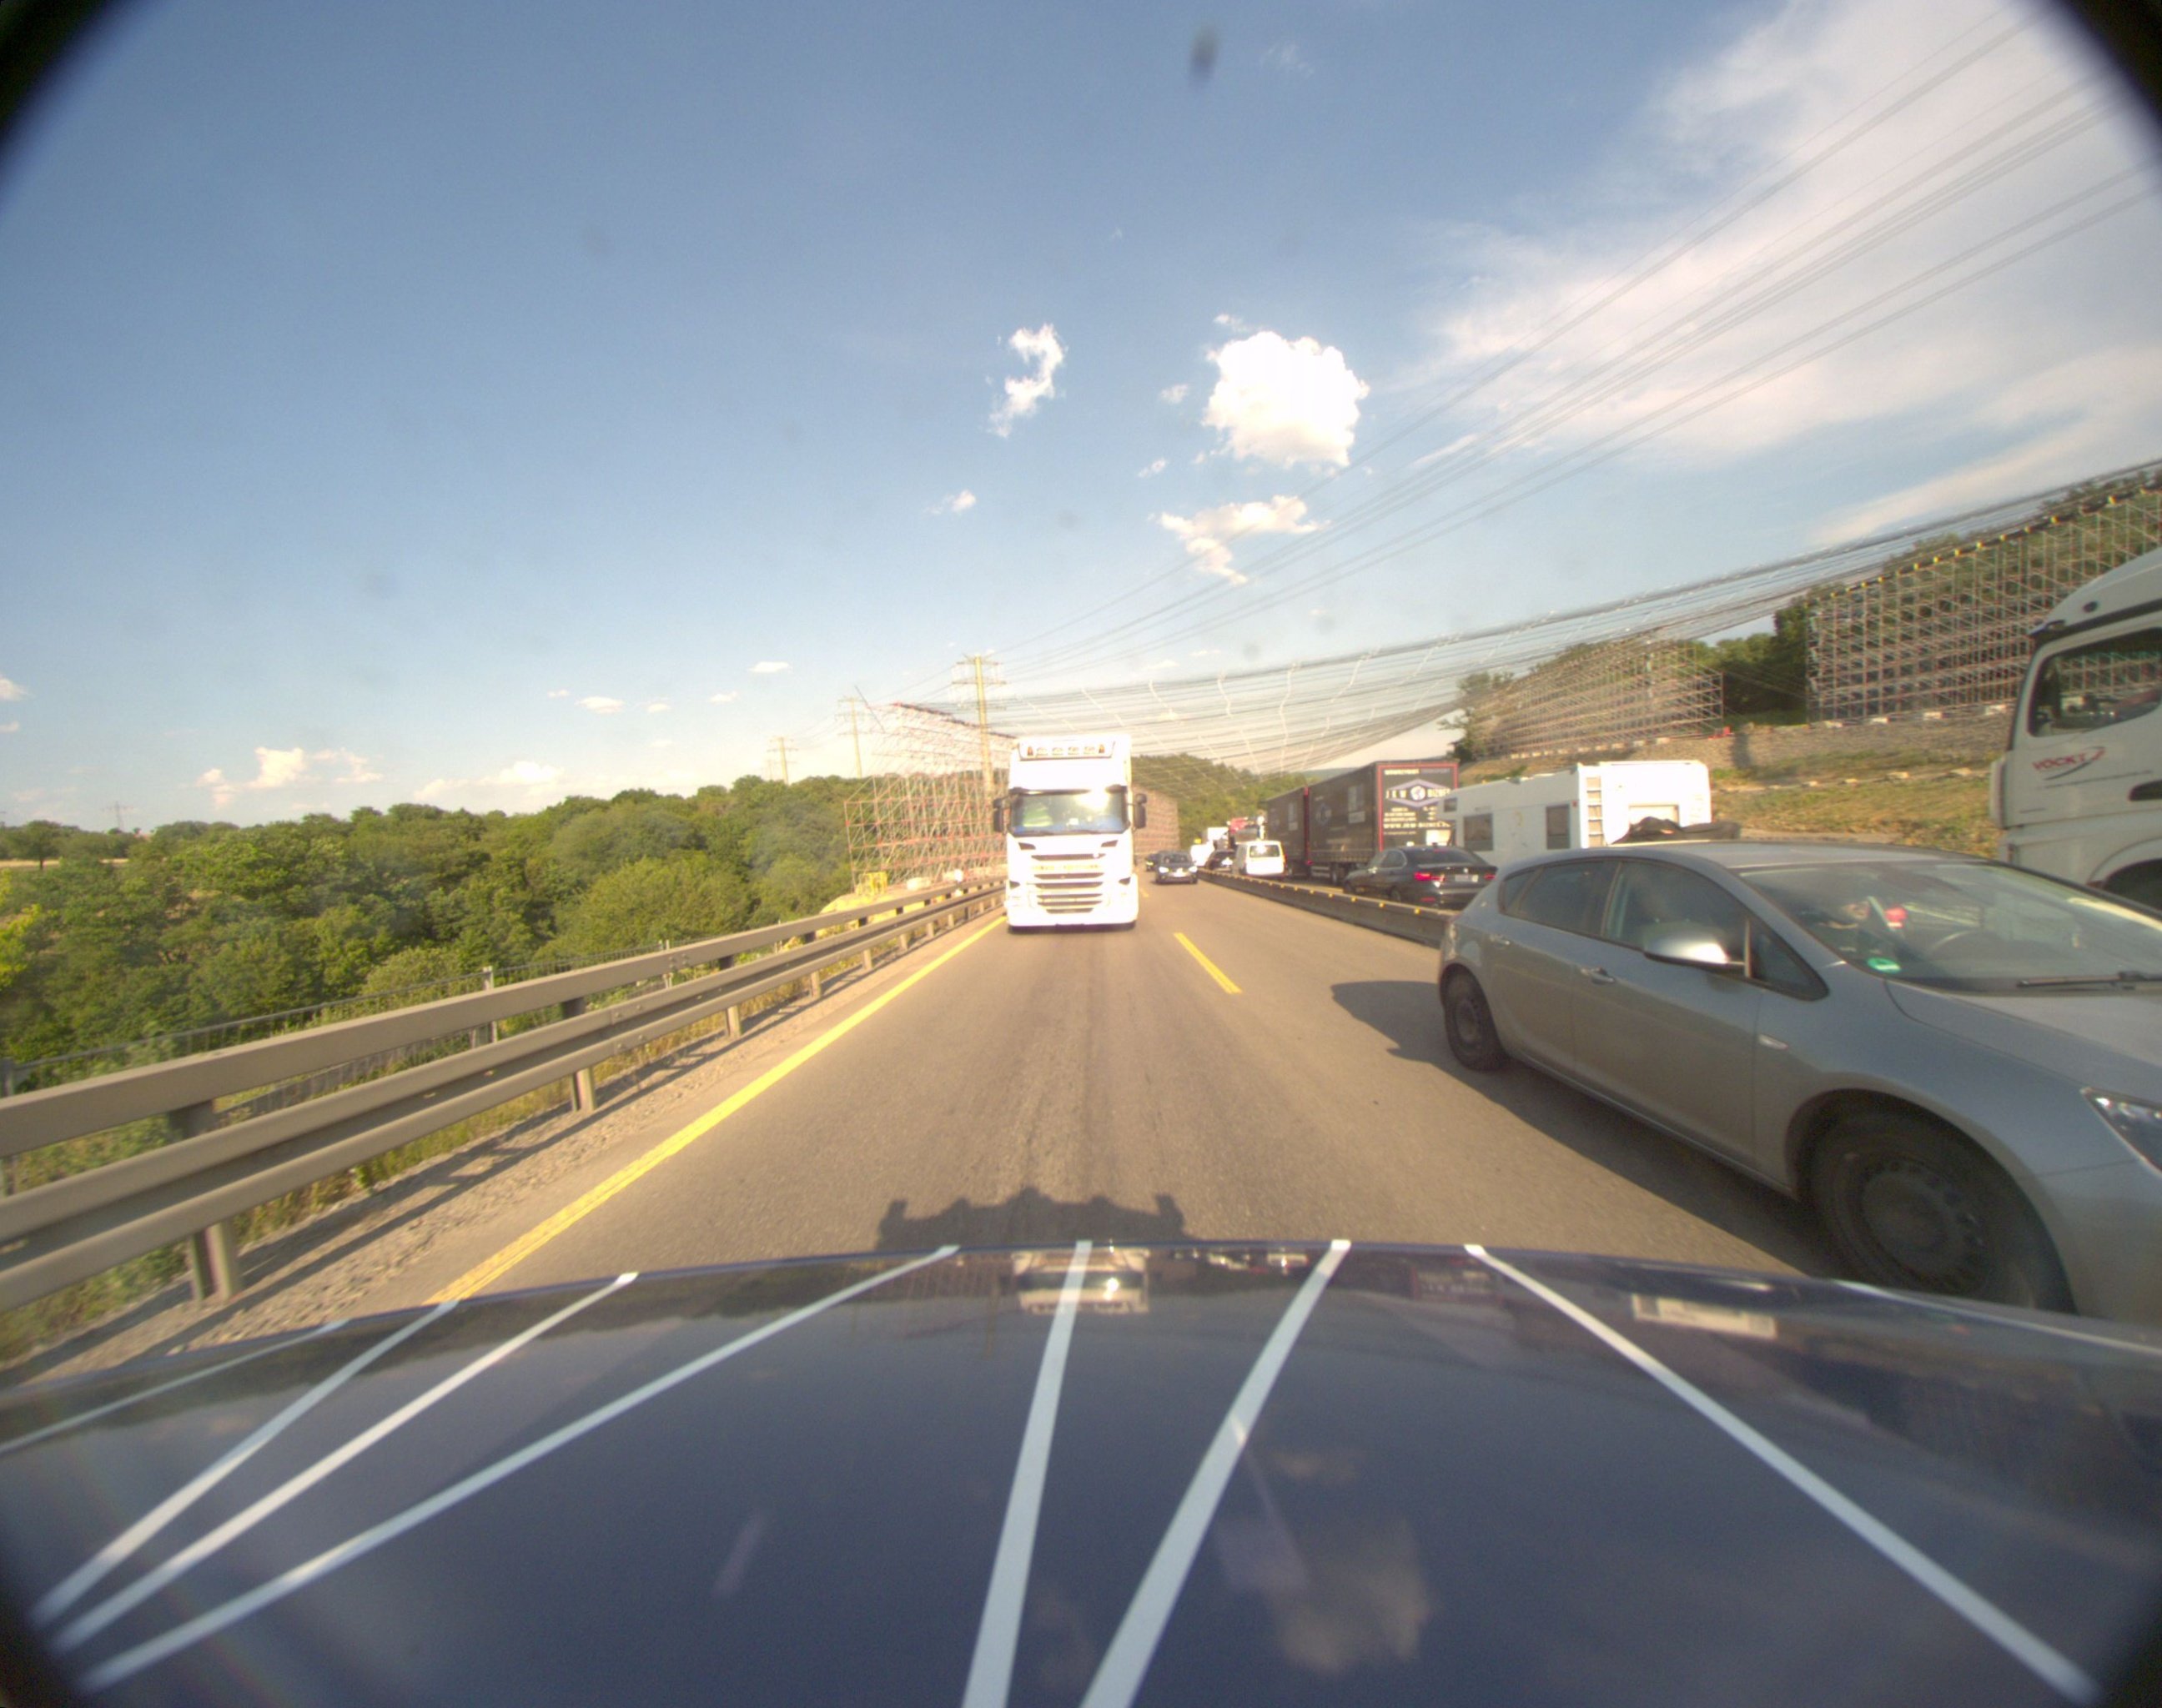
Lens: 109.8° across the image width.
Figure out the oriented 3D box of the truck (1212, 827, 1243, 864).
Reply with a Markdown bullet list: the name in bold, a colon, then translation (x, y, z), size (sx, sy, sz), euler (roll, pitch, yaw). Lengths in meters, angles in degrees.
- **truck**: translation (14.294, -0.838, 74.426), size (2.418, 3.351, 5.619), euler (-2, 1, 6)

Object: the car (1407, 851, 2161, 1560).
- **car**: translation (3.228, 0.767, 3.281), size (1.760, 1.464, 4.352), euler (-2, 1, 0)

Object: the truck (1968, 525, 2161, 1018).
- **truck**: translation (9.460, -0.627, 3.763), size (2.607, 3.732, 6.516), euler (-2, 1, 1)

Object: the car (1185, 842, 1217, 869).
- **car**: translation (9.035, 0.075, 57.612), size (1.821, 1.914, 4.836), euler (-2, 1, 3)

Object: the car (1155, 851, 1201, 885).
- **car**: translation (4.348, 0.592, 34.628), size (1.764, 1.376, 3.823), euler (-2, 1, 3)

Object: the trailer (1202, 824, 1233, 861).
- **trailer**: translation (15.668, -1.328, 87.781), size (2.432, 3.940, 14.103), euler (-2, 1, 6)

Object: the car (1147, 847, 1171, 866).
- **car**: translation (6.031, 0.152, 58.832), size (1.675, 1.376, 3.823), euler (-2, 1, 4)

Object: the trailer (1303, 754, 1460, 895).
- **trailer**: translation (10.273, -0.948, 27.118), size (2.449, 4.165, 8.544), euler (-2, 1, 2)

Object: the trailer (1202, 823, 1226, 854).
- **trailer**: translation (18.626, -2.163, 106.918), size (2.675, 3.992, 13.339), euler (-2, 1, 7)

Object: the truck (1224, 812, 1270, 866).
- **truck**: translation (12.333, -1.119, 56.787), size (2.438, 3.763, 5.618), euler (-2, 1, 4)

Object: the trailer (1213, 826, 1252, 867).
- **trailer**: translation (13.502, -0.729, 68.558), size (2.311, 3.342, 12.056), euler (-2, 1, 6)

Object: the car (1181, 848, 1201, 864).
- **car**: translation (10.627, 0.184, 73.699), size (1.631, 1.418, 4.658), euler (-2, 1, 4)

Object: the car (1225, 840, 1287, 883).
- **car**: translation (7.493, 0.279, 32.921), size (1.761, 1.685, 4.453), euler (-2, 1, 2)

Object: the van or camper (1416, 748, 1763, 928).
- **van or camper**: translation (10.008, -0.309, 16.238), size (2.414, 2.875, 7.617), euler (-2, 1, 1)

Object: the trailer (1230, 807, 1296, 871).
- **trailer**: translation (11.933, -0.971, 50.973), size (2.312, 3.768, 12.054), euler (-2, 1, 4)

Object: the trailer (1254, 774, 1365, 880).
- **trailer**: translation (10.638, -1.193, 36.652), size (2.482, 4.304, 10.511), euler (-2, 1, 2)

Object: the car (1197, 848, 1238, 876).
- **car**: translation (7.780, 0.418, 43.640), size (1.684, 1.470, 4.603), euler (-2, 1, 3)

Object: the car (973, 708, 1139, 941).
- **car**: translation (-0.217, -0.574, 17.797), size (2.858, 4.092, 8.281), euler (-2, 1, 3)

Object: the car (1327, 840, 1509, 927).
- **car**: translation (6.765, 0.504, 15.854), size (1.798, 1.502, 4.585), euler (-2, 1, 1)
